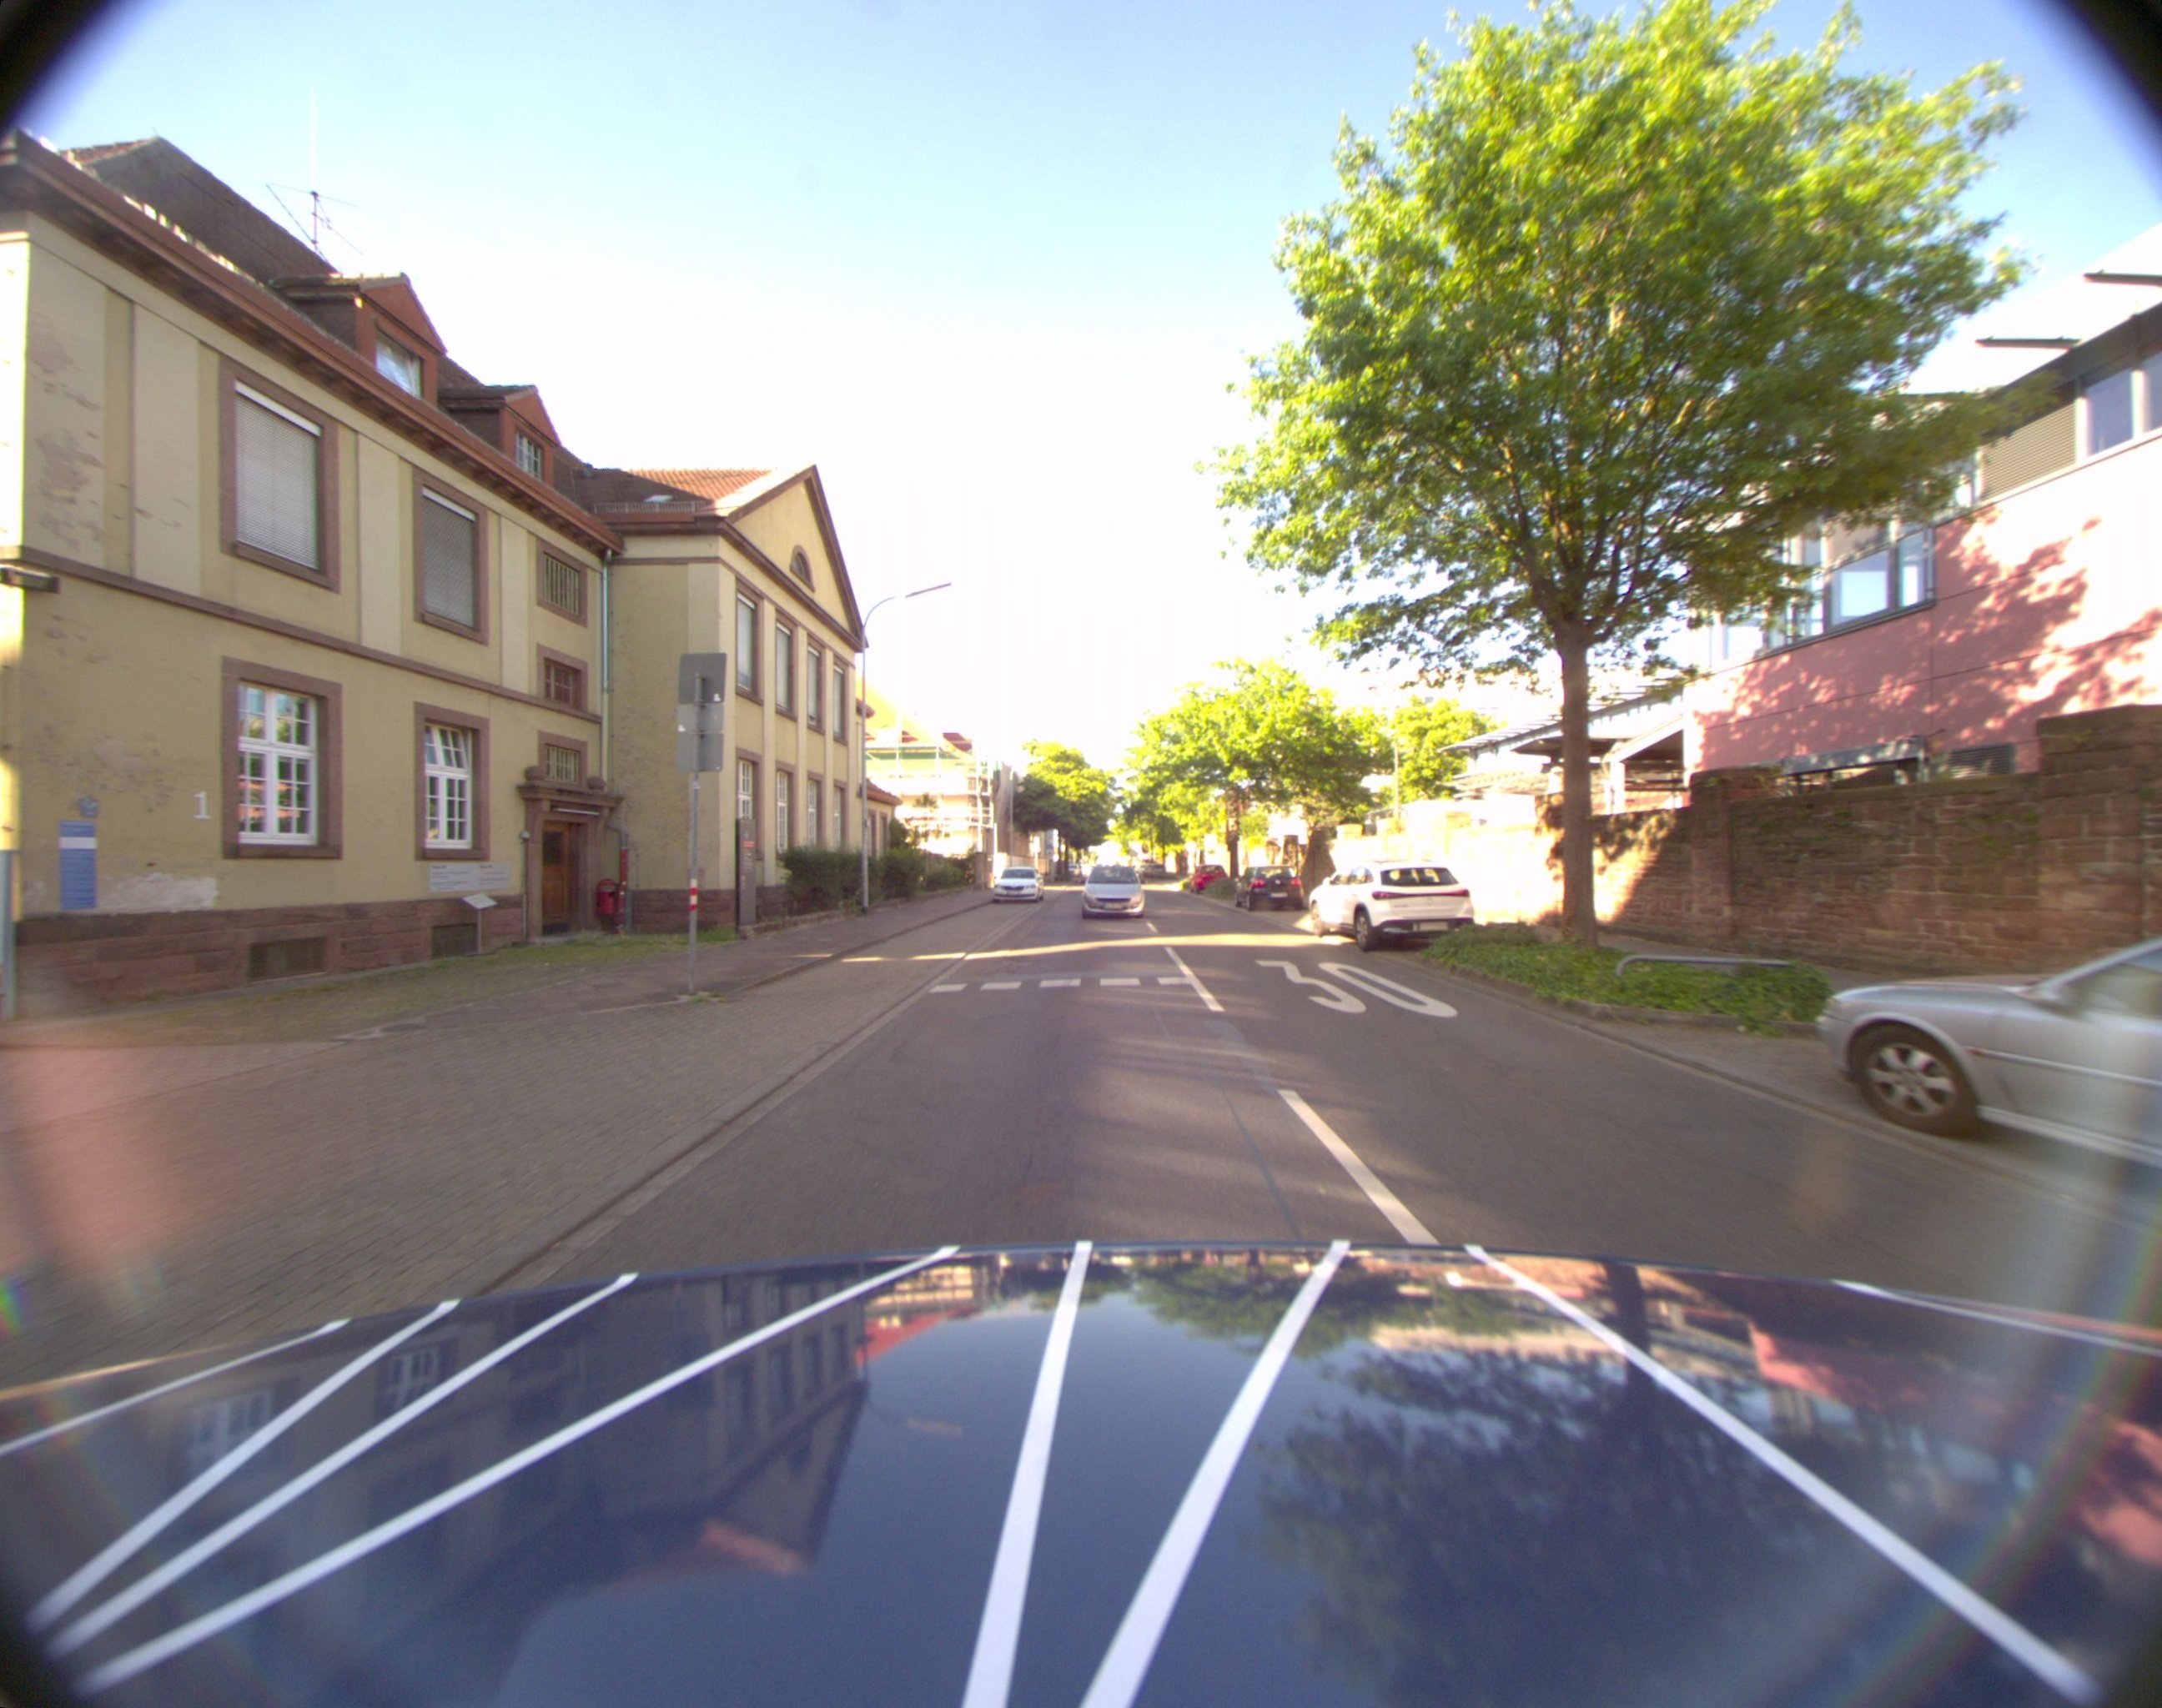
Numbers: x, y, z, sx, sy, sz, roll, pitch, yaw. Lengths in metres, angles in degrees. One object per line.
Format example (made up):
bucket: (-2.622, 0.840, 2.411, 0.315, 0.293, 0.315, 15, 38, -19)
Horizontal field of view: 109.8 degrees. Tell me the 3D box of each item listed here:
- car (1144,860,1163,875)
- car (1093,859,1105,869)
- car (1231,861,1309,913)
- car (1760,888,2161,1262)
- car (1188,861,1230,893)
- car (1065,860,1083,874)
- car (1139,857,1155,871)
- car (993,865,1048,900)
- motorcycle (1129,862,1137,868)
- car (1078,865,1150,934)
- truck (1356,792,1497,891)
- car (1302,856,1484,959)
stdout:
car: (7.380, 1.337, 77.625, 1.691, 1.413, 3.839, -2, 0, 1)
car: (3.153, 1.783, 133.588, 1.834, 1.732, 4.000, -2, 0, 0)
car: (6.214, 1.035, 25.383, 1.741, 1.583, 4.107, -1, 0, 3)
car: (5.485, 0.988, 2.944, 1.730, 1.467, 4.478, -2, 0, 1)
car: (6.473, 1.139, 38.743, 1.612, 1.450, 3.709, -2, 0, 2)
car: (-0.822, 1.519, 87.640, 1.727, 1.501, 3.993, 1, -1, 5)
car: (8.162, 1.242, 94.562, 1.680, 1.501, 3.852, -4, -4, 2)
car: (-2.422, 1.124, 31.430, 1.837, 1.315, 4.496, 0, 0, 1)
motorcycle: (9.645, 2.041, 140.915, 0.599, 1.026, 2.132, -1, -1, 36)
car: (0.922, 1.182, 21.232, 1.747, 1.613, 4.107, -2, 0, 3)
truck: (14.616, -0.461, 32.909, 2.739, 3.689, 7.429, -2, 0, 1)
car: (5.761, 0.900, 14.660, 1.724, 1.674, 4.351, -1, 0, 0)
